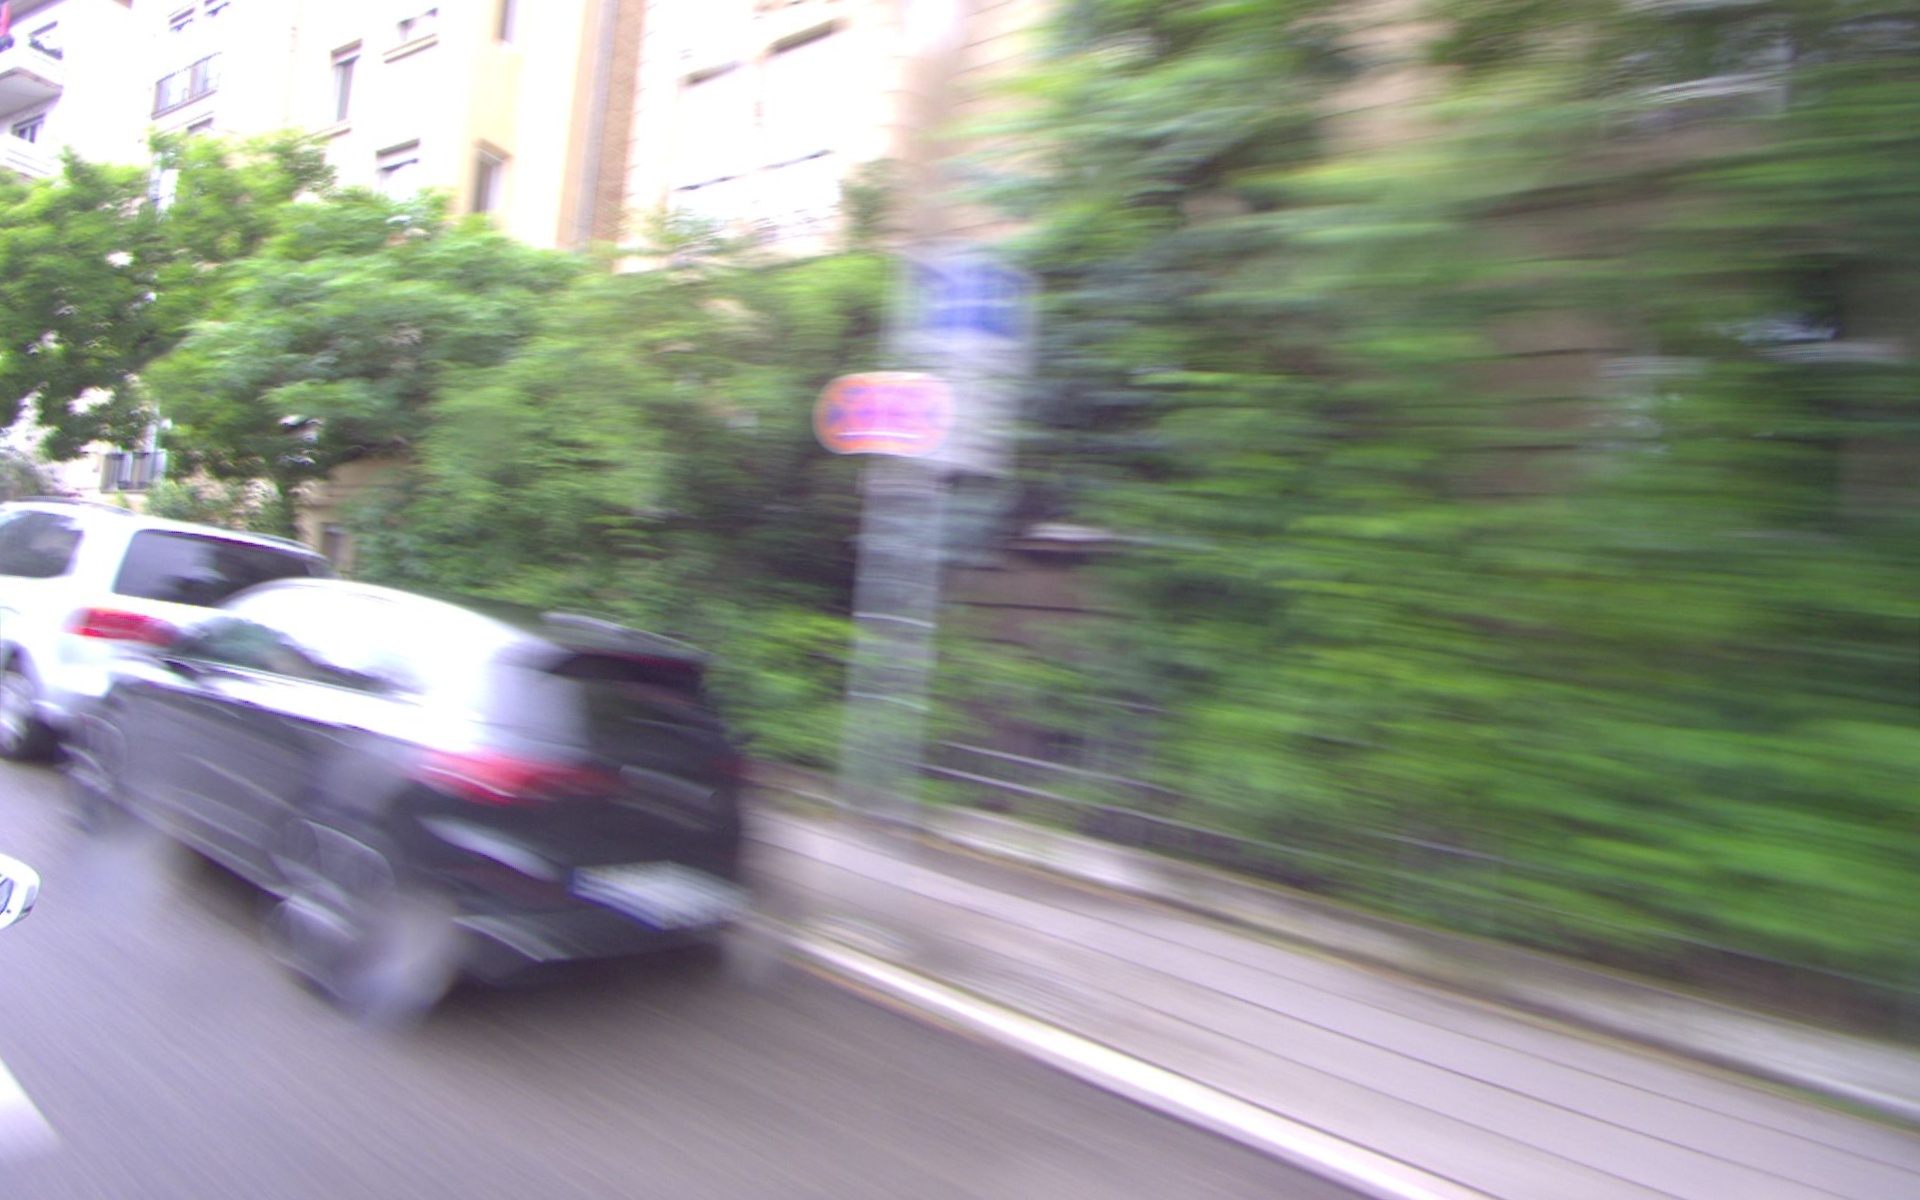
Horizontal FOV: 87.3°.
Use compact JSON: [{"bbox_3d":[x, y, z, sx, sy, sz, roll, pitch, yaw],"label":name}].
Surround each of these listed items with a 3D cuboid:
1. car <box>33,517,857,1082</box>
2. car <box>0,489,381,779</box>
[{"bbox_3d":[-2.642,0.605,4.839,3.937,1.406,1.768,8,-2,35],"label":"car"},{"bbox_3d":[-6.506,0.089,7.588,4.217,1.623,1.769,7,-1,31],"label":"car"}]
